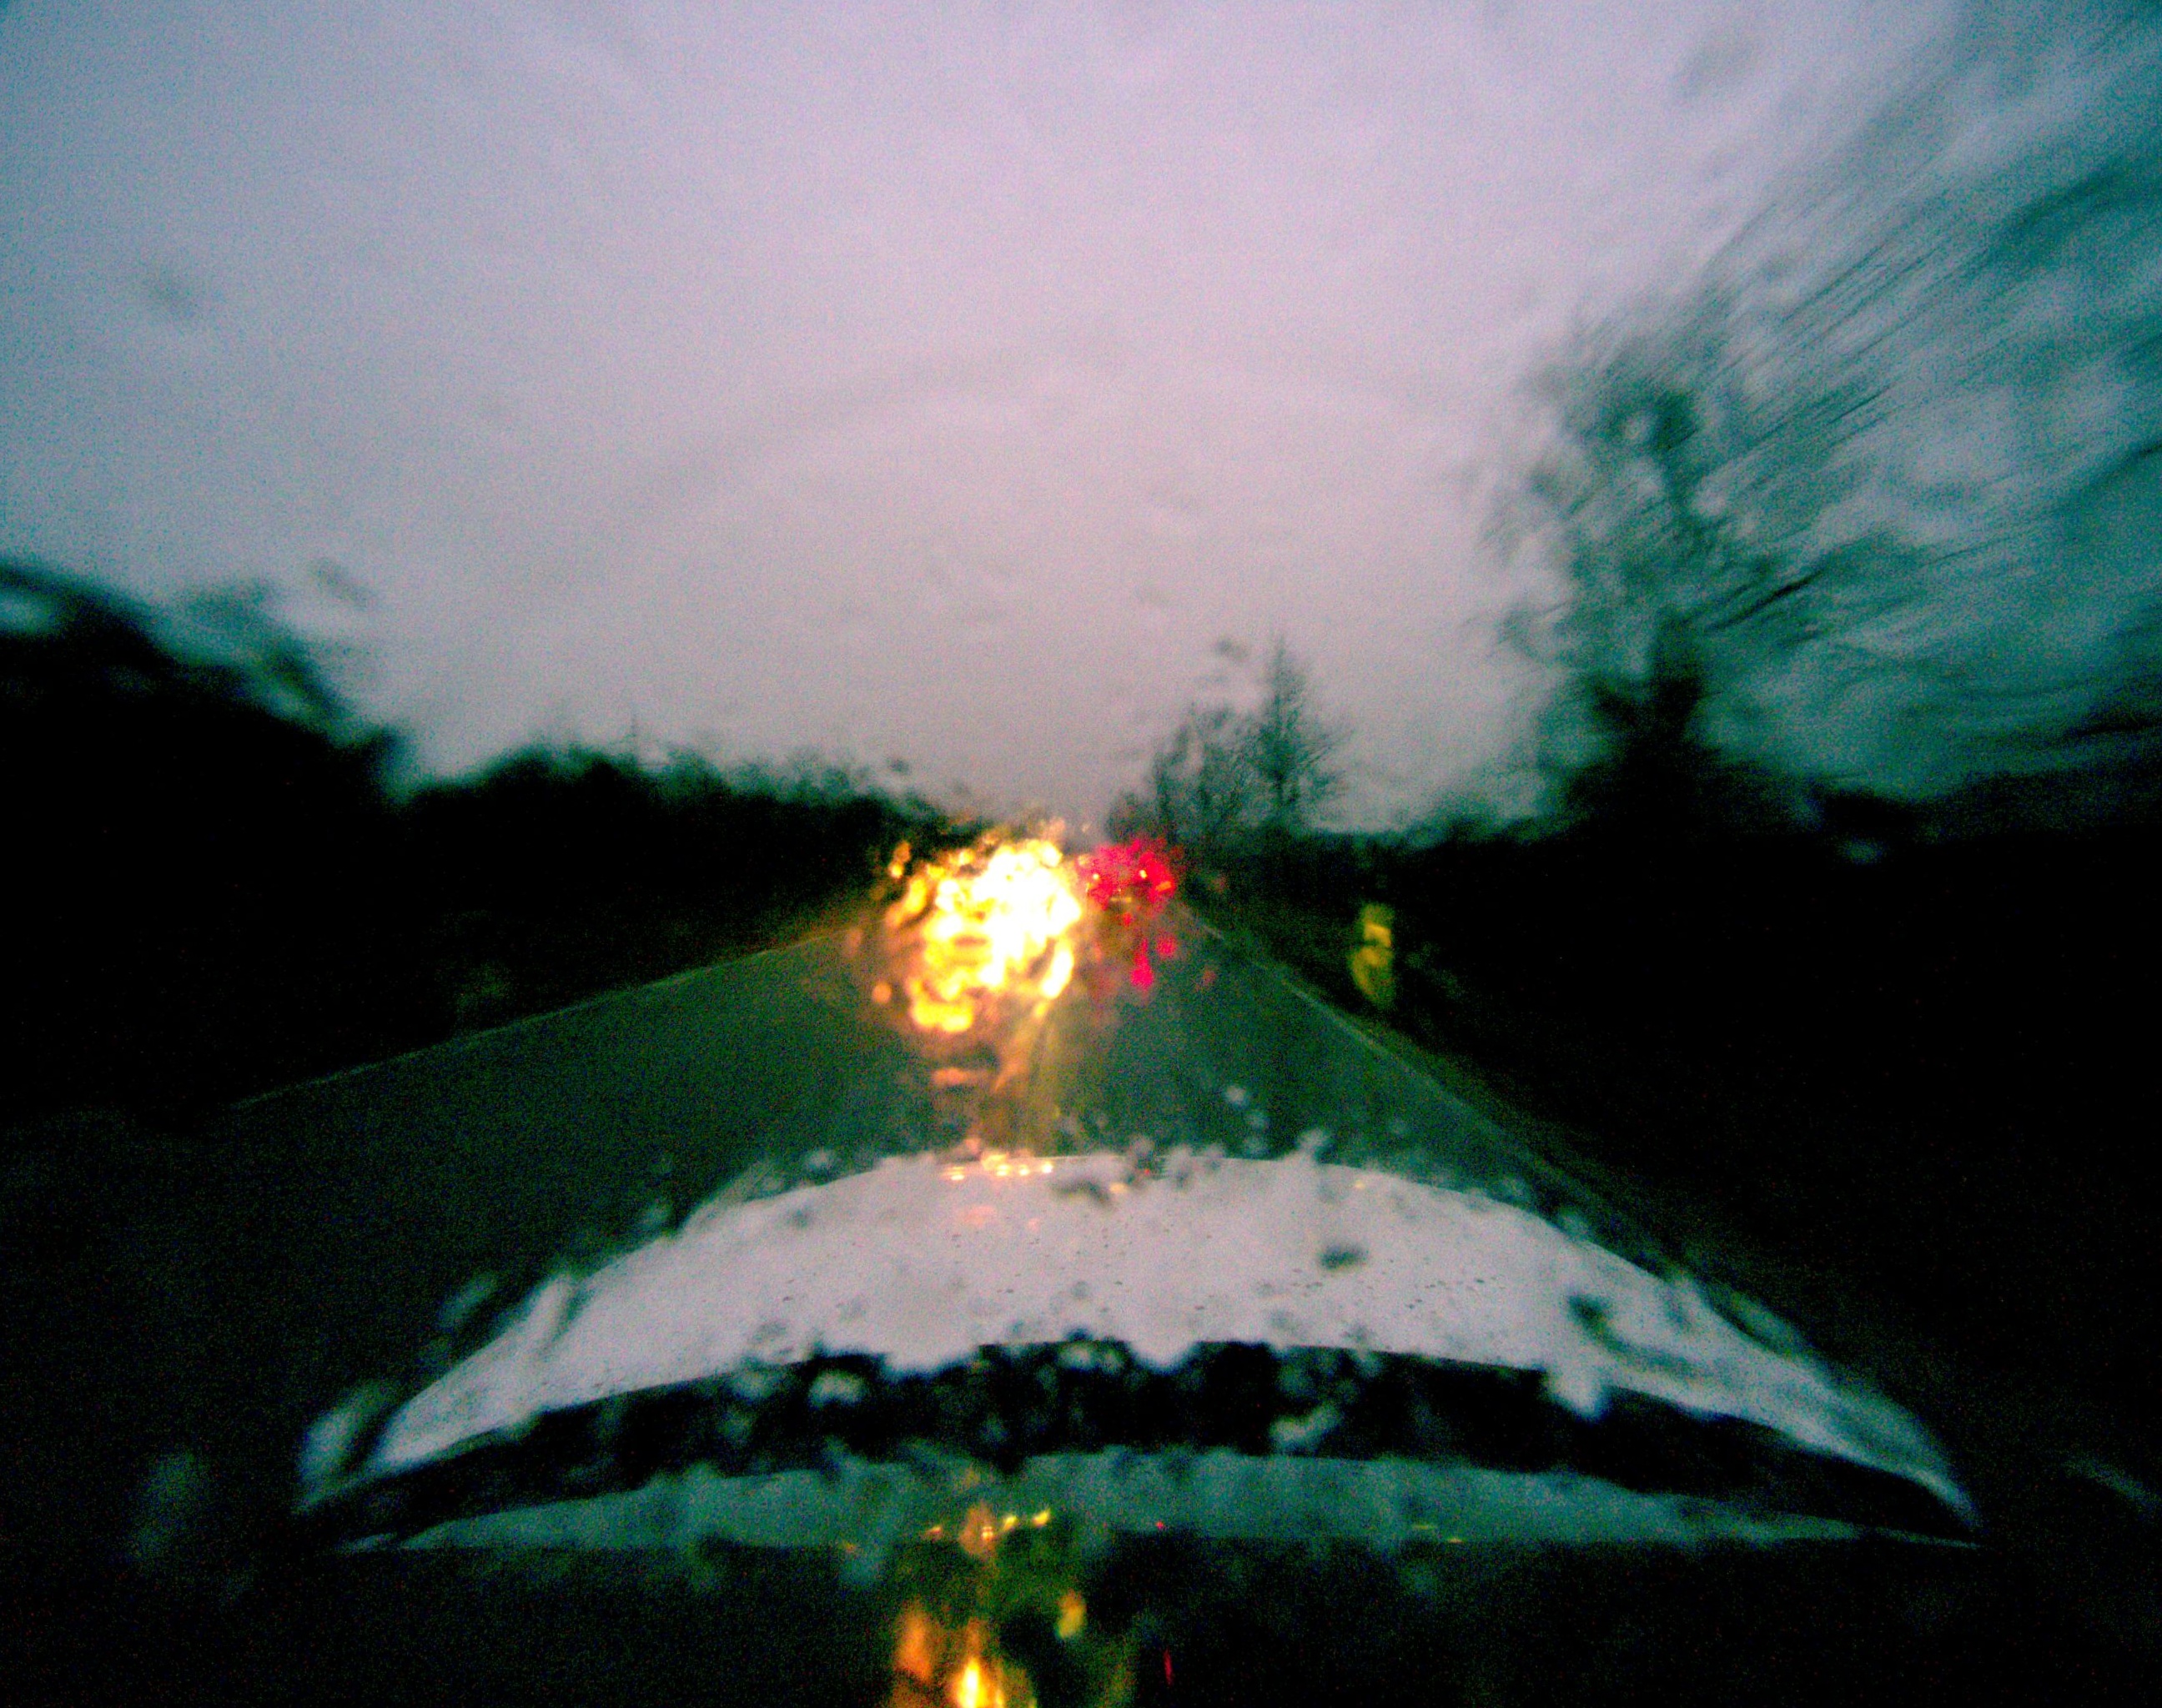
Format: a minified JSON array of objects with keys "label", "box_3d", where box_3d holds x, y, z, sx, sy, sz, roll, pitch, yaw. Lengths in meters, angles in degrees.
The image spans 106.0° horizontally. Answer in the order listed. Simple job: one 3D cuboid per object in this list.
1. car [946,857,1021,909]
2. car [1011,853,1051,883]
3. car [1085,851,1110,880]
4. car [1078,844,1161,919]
[{"label":"car","box_3d":[-3.011,0.862,25.888,1.819,1.498,4.095,-1,0,0]},{"label":"car","box_3d":[-2.779,0.774,46.323,1.751,1.640,4.688,0,0,2]},{"label":"car","box_3d":[1.141,0.752,55.246,1.568,1.875,3.712,0,0,3]},{"label":"car","box_3d":[1.023,0.669,21.376,1.985,1.784,4.003,0,0,3]}]
